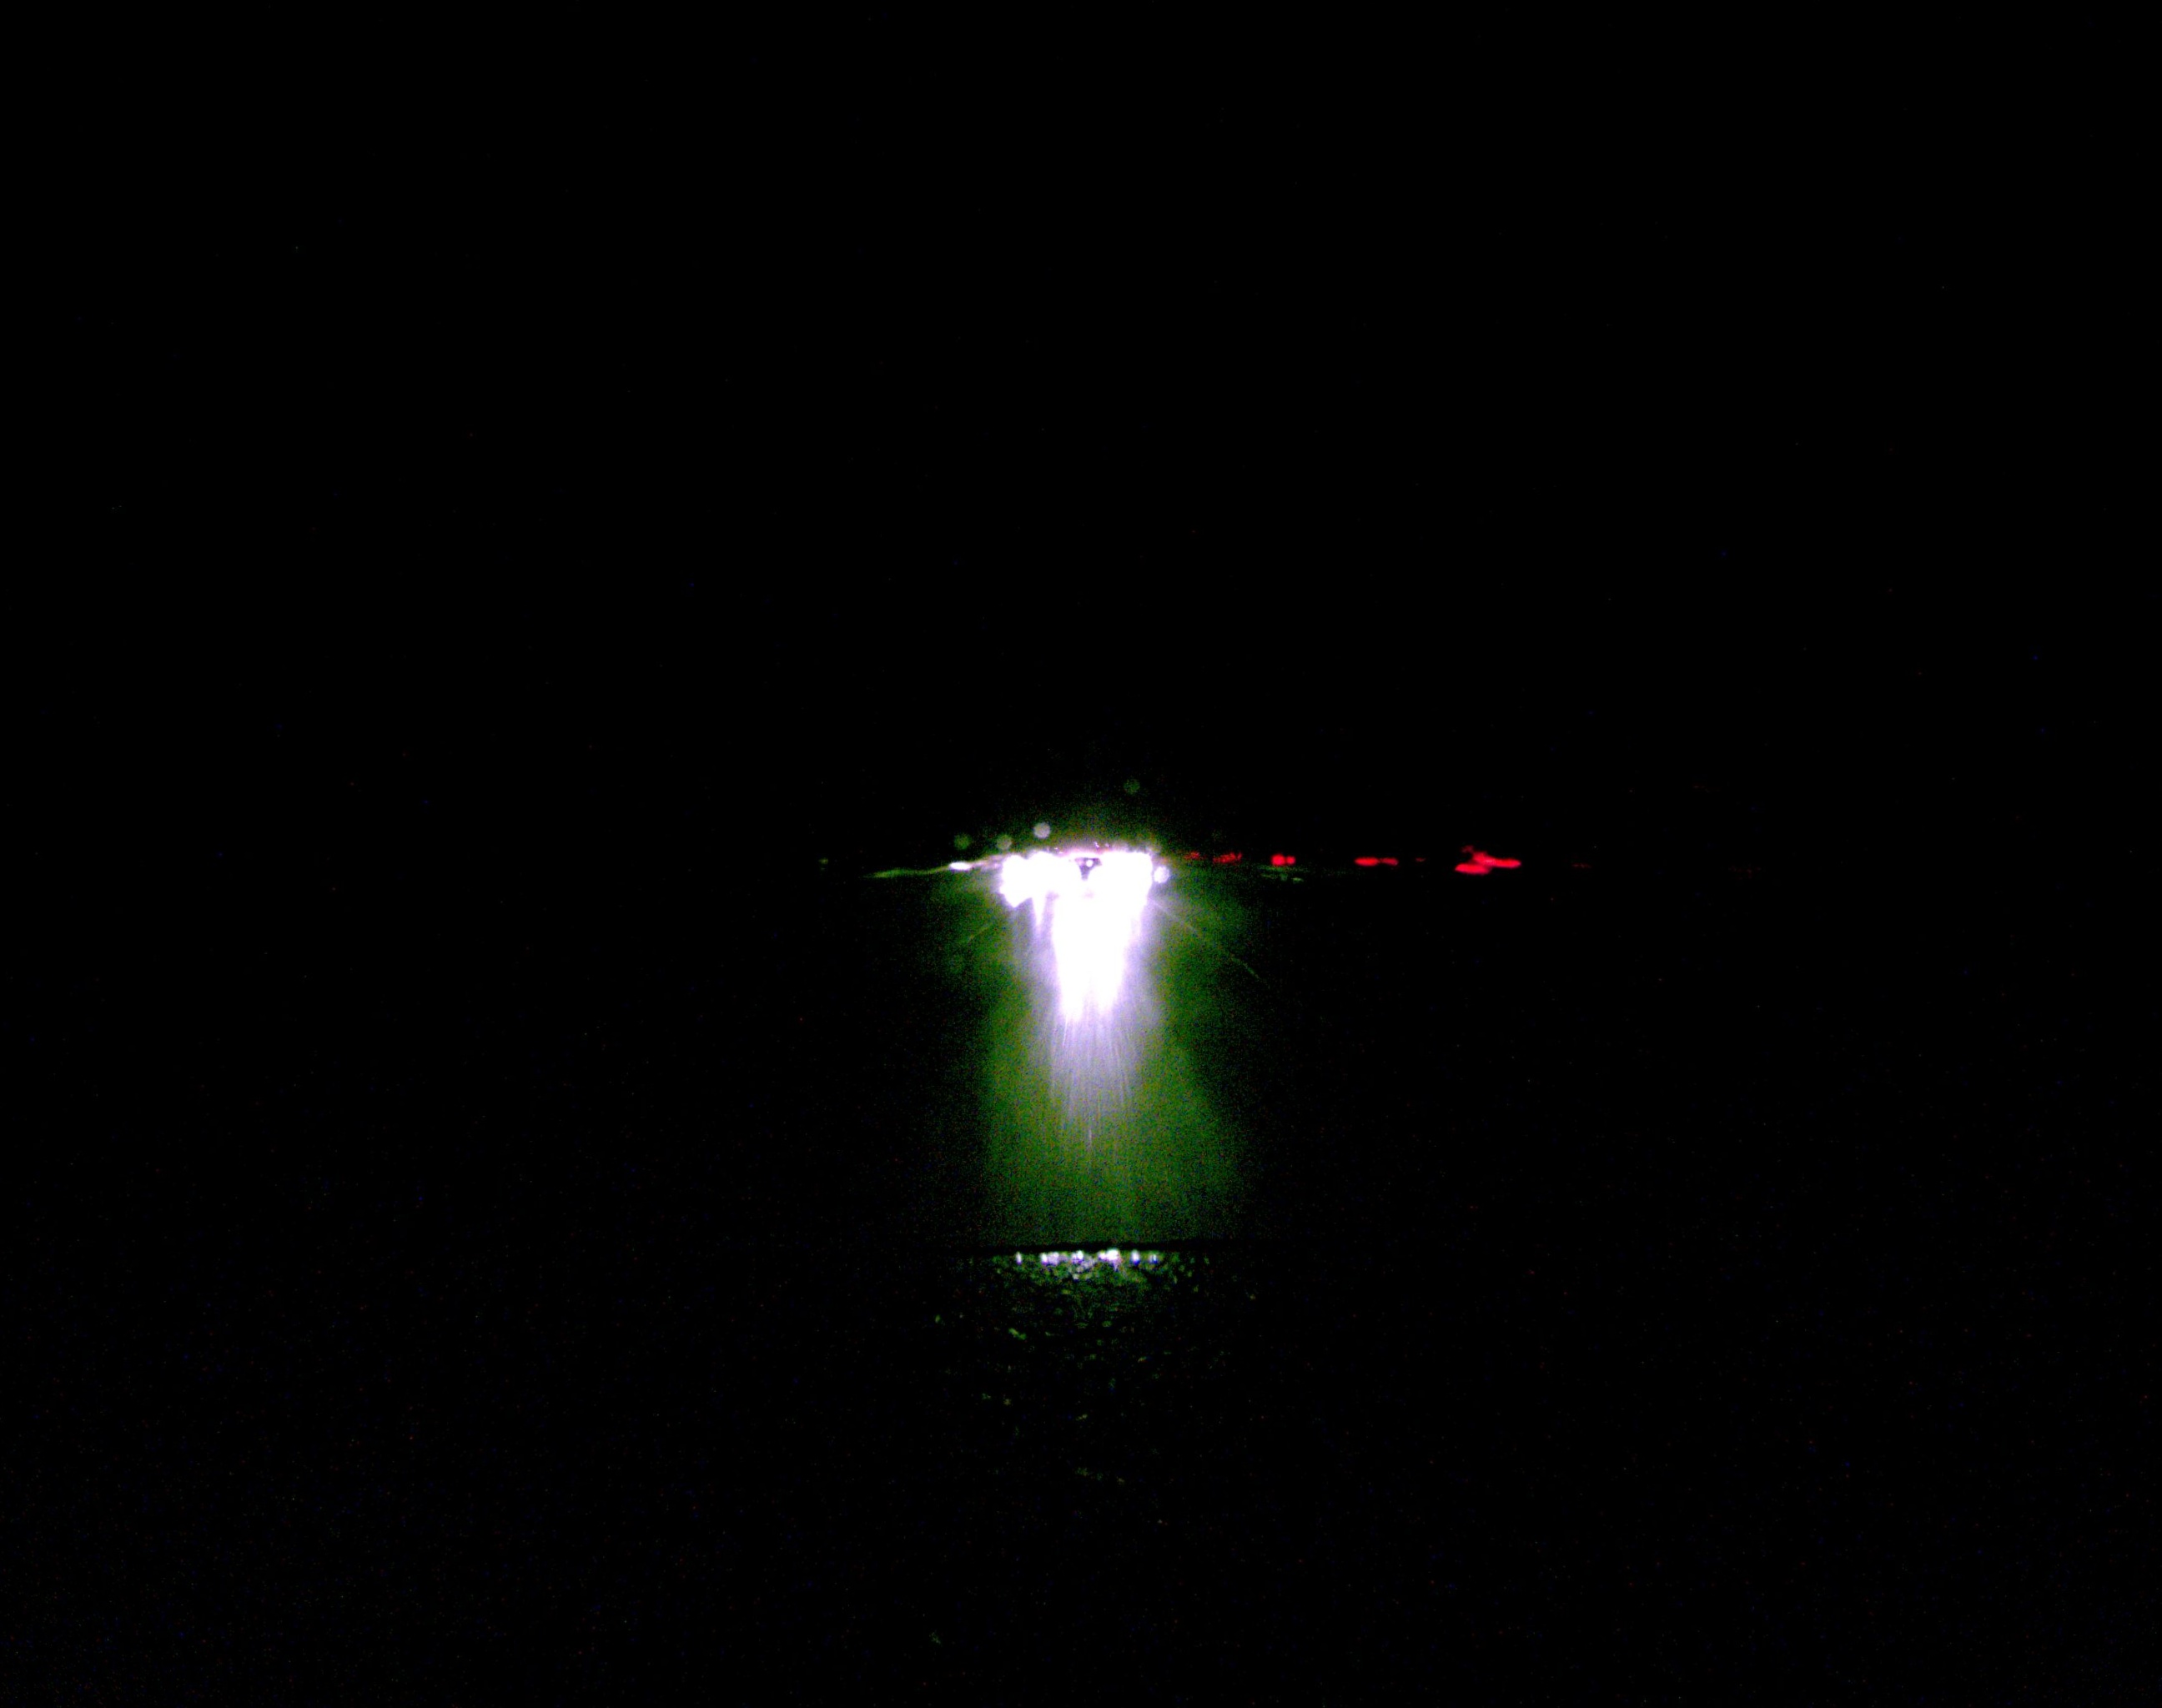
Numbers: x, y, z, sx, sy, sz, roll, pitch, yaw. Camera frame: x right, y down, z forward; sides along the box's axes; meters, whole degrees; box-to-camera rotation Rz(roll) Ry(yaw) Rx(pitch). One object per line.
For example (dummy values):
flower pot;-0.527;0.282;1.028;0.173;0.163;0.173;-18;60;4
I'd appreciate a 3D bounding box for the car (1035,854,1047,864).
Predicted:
car;-7.066;0.903;133.962;1.755;1.563;3.999;-2;1;0

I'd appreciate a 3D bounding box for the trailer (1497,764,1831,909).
trailer;24.762;-0.718;34.377;3.798;4.999;14.798;-2;1;1

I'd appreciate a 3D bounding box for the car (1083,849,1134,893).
car;1.112;0.670;32.911;1.960;1.655;4.915;-2;0;0

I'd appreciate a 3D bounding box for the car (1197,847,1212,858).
car;21.771;-0.262;134.159;1.724;1.744;4.396;-2;1;-1

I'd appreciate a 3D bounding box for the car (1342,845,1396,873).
car;16.919;0.288;44.869;1.661;1.504;3.999;-2;1;0

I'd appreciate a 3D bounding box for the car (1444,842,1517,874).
car;20.531;0.154;39.249;1.661;1.504;3.999;-2;1;0

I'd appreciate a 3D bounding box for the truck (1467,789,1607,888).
truck;24.886;-0.832;41.968;3.798;4.881;6.477;-2;1;0

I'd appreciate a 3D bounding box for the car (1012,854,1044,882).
car;-3.566;0.896;51.642;1.792;1.681;3.999;-2;1;0

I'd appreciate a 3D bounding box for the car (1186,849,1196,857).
car;26.037;-0.244;180.199;1.912;1.895;4.144;-2;1;1

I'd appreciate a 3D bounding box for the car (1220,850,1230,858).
car;34.722;-0.020;183.240;1.874;1.701;3.813;-2;1;1

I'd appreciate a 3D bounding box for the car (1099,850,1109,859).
car;4.540;0.108;148.339;1.800;1.728;3.999;-2;1;0

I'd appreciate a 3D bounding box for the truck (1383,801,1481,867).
truck;32.736;-1.839;71.694;3.247;5.560;12.793;-2;1;0

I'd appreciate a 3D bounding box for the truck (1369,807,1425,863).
truck;32.740;-1.945;78.995;3.247;5.560;5.877;-2;1;0

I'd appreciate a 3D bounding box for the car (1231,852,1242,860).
car;34.051;0.433;166.767;1.688;1.494;3.766;-2;1;1

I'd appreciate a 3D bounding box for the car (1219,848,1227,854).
car;48.825;-1.082;260.822;1.894;1.778;4.174;-2;1;2

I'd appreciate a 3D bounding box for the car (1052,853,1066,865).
car;-3.527;0.754;119.971;1.998;1.852;3.999;-2;1;0

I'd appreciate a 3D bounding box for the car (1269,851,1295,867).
car;21.004;0.521;79.470;1.661;1.504;3.999;-2;1;0

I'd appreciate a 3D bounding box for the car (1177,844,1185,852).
car;34.484;-2.052;262.426;2.159;2.877;4.719;-2;1;2

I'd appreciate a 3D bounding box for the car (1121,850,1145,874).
car;4.188;0.644;61.638;1.611;1.775;3.910;-2;1;0
